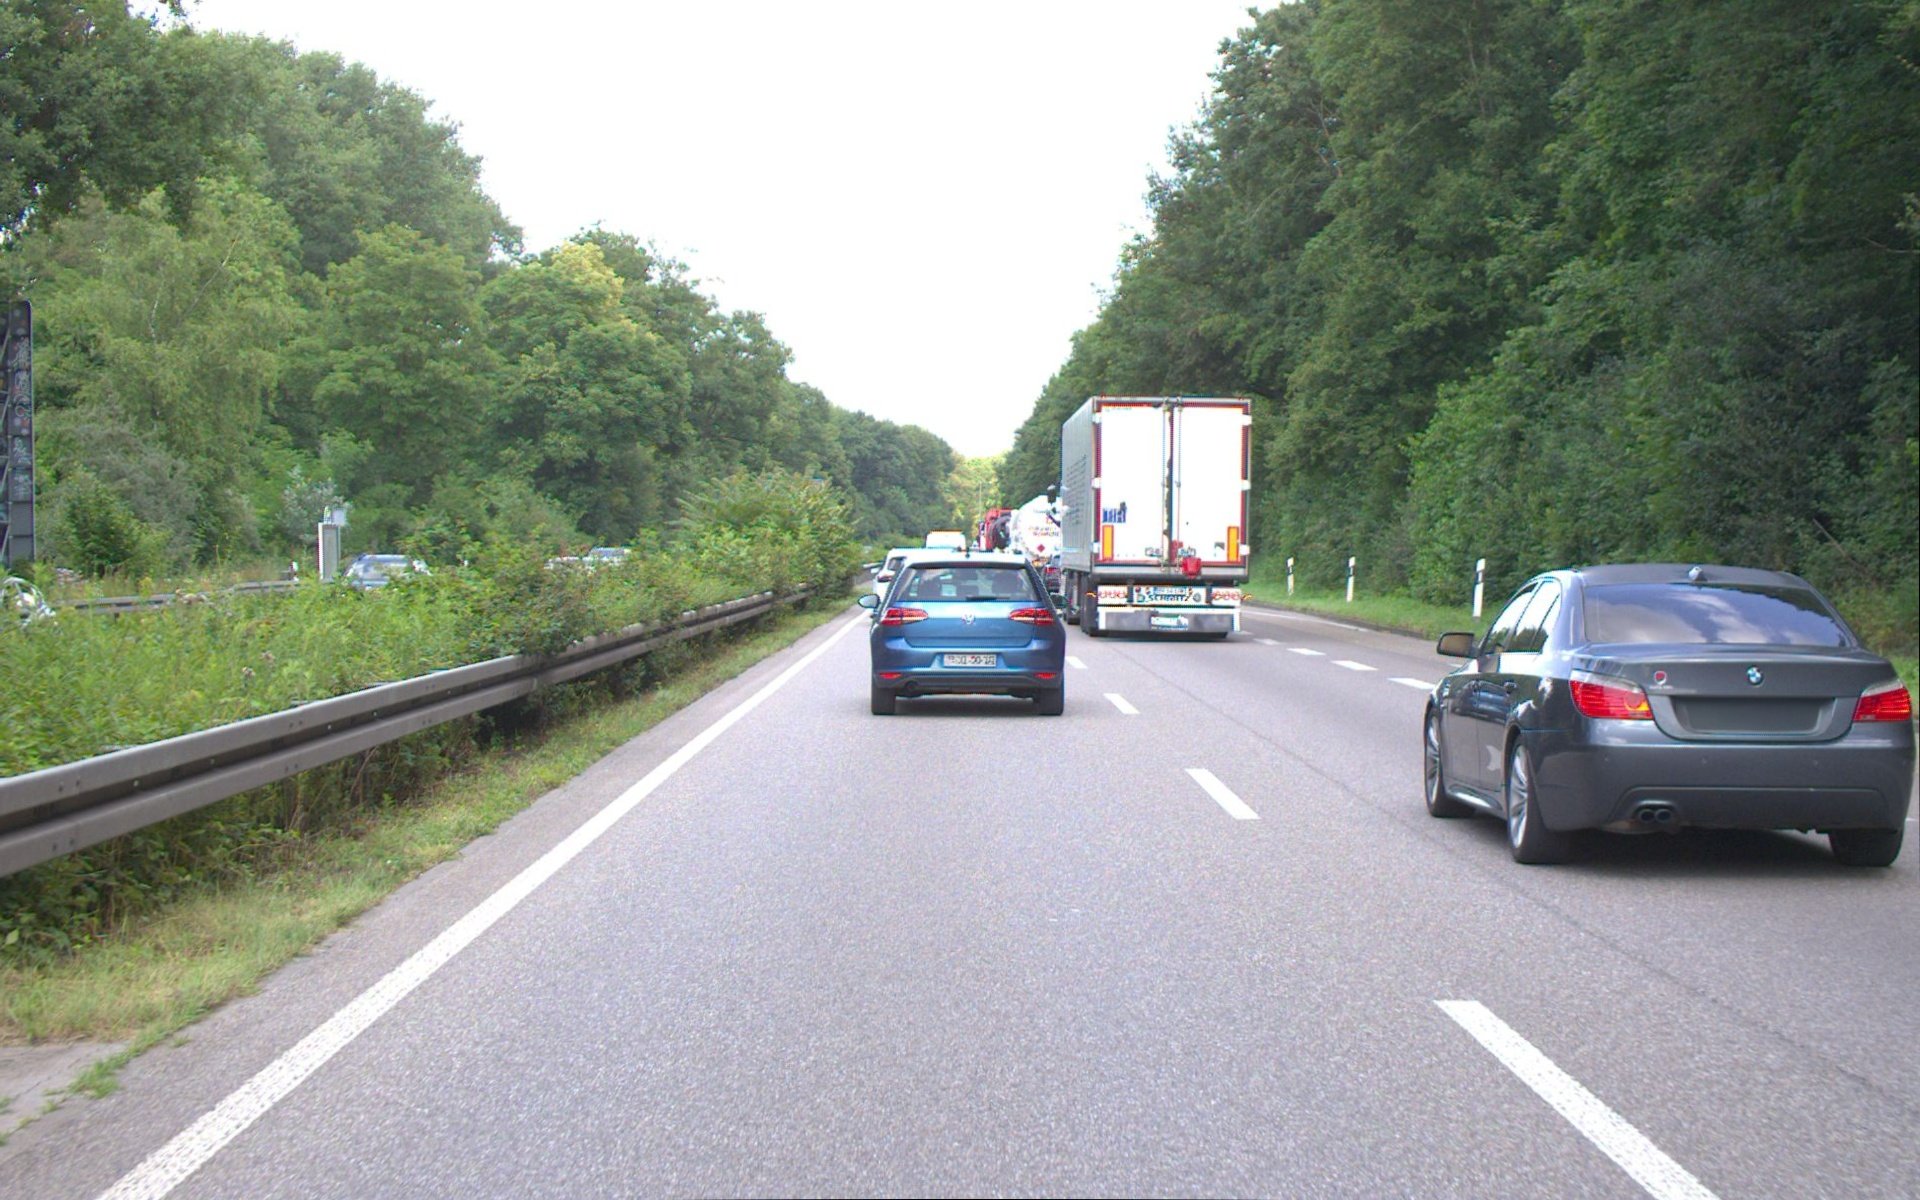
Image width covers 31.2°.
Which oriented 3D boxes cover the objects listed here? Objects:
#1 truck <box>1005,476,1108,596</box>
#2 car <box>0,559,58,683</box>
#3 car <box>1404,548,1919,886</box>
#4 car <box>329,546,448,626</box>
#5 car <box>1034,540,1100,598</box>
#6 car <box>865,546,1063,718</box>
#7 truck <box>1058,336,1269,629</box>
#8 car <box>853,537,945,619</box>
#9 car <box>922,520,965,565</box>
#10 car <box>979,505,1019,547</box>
[{"bbox_3d":[3.593,-2.377,131.705,3.232,4.371,12.971,0,0,-1],"label":"truck"},{"bbox_3d":[-12.396,0.266,41.670,1.734,1.468,4.470,-1,1,0],"label":"car"},{"bbox_3d":[3.529,0.488,17.783,1.774,1.470,4.880,1,1,0],"label":"car"},{"bbox_3d":[-12.481,-0.340,75.296,1.828,1.655,4.595,1,1,0],"label":"car"},{"bbox_3d":[3.251,-0.962,105.082,1.888,1.723,4.000,-1,1,0],"label":"car"},{"bbox_3d":[0.012,0.247,31.941,1.705,1.465,4.000,1,1,-1],"label":"car"},{"bbox_3d":[3.445,-2.012,61.102,3.242,4.700,11.007,-1,1,1],"label":"truck"},{"bbox_3d":[-1.142,-0.442,65.920,1.665,1.495,4.152,1,1,0],"label":"car"},{"bbox_3d":[-0.870,-2.930,175.934,1.993,2.247,4.443,-1,1,-2],"label":"car"},{"bbox_3d":[2.175,-4.166,194.235,1.993,2.319,4.443,-1,1,-2],"label":"car"}]
